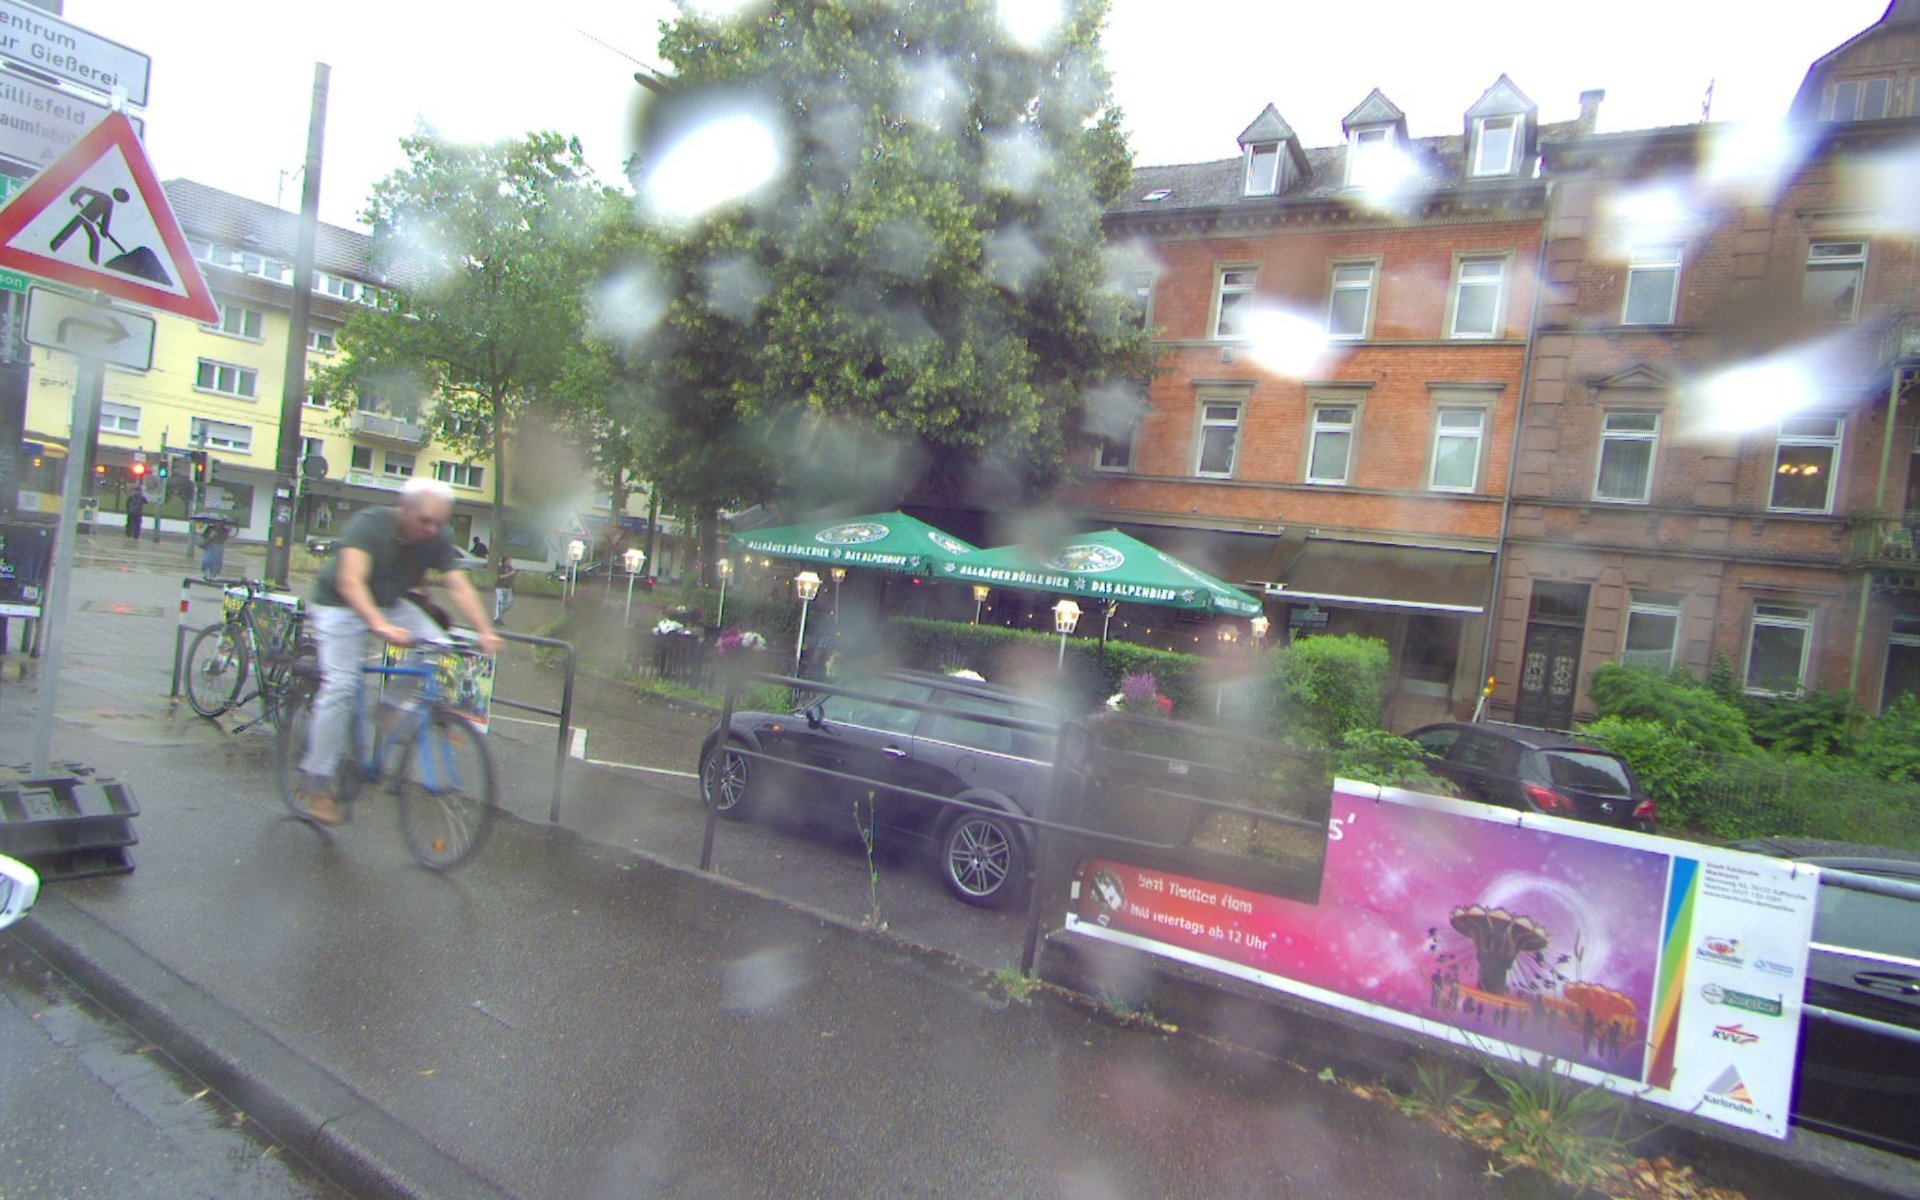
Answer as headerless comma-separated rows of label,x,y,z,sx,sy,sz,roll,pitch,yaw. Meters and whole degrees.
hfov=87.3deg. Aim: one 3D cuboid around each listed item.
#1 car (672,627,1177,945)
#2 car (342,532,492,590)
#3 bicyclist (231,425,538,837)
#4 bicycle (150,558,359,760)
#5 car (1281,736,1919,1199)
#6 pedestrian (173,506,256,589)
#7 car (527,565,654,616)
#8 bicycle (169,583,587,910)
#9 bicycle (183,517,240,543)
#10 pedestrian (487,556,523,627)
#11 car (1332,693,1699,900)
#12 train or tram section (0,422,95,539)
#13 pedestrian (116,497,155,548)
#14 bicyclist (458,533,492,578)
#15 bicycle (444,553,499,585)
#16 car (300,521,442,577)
car,-0.347,1.249,7.816,3.459,1.518,1.649,8,-1,34
car,-19.951,-1.400,37.103,1.717,1.508,4.474,9,1,45
bicyclist,-2.659,0.120,4.681,0.862,1.677,0.737,8,2,27
bicycle,-5.180,0.399,7.349,1.762,1.182,0.423,8,-1,30
car,3.998,1.828,4.990,4.146,1.481,1.749,8,0,32
pedestrian,-17.153,-1.205,23.159,0.981,1.687,1.104,8,0,31
car,-15.566,-0.373,42.515,4.612,1.504,1.838,7,2,-45
bicycle,-2.738,0.589,4.695,1.833,1.086,0.739,8,2,27
bicycle,-35.537,-3.320,47.765,2.034,0.908,0.606,7,0,-44
pedestrian,-10.981,-0.199,24.304,0.382,1.667,0.549,8,3,33
car,6.403,2.194,12.233,1.828,1.526,3.997,8,-1,-5
train or tram section,-34.500,-4.531,29.585,3.057,3.600,14.687,8,-1,11
pedestrian,-29.508,-2.779,36.004,0.806,1.698,1.008,7,1,-32
bicyclist,-20.214,-1.851,41.911,0.704,1.737,0.886,8,0,42
bicycle,-20.321,-1.266,41.869,0.710,1.044,1.808,8,-1,42
car,-22.601,-1.935,38.714,1.853,1.520,4.264,8,1,40
